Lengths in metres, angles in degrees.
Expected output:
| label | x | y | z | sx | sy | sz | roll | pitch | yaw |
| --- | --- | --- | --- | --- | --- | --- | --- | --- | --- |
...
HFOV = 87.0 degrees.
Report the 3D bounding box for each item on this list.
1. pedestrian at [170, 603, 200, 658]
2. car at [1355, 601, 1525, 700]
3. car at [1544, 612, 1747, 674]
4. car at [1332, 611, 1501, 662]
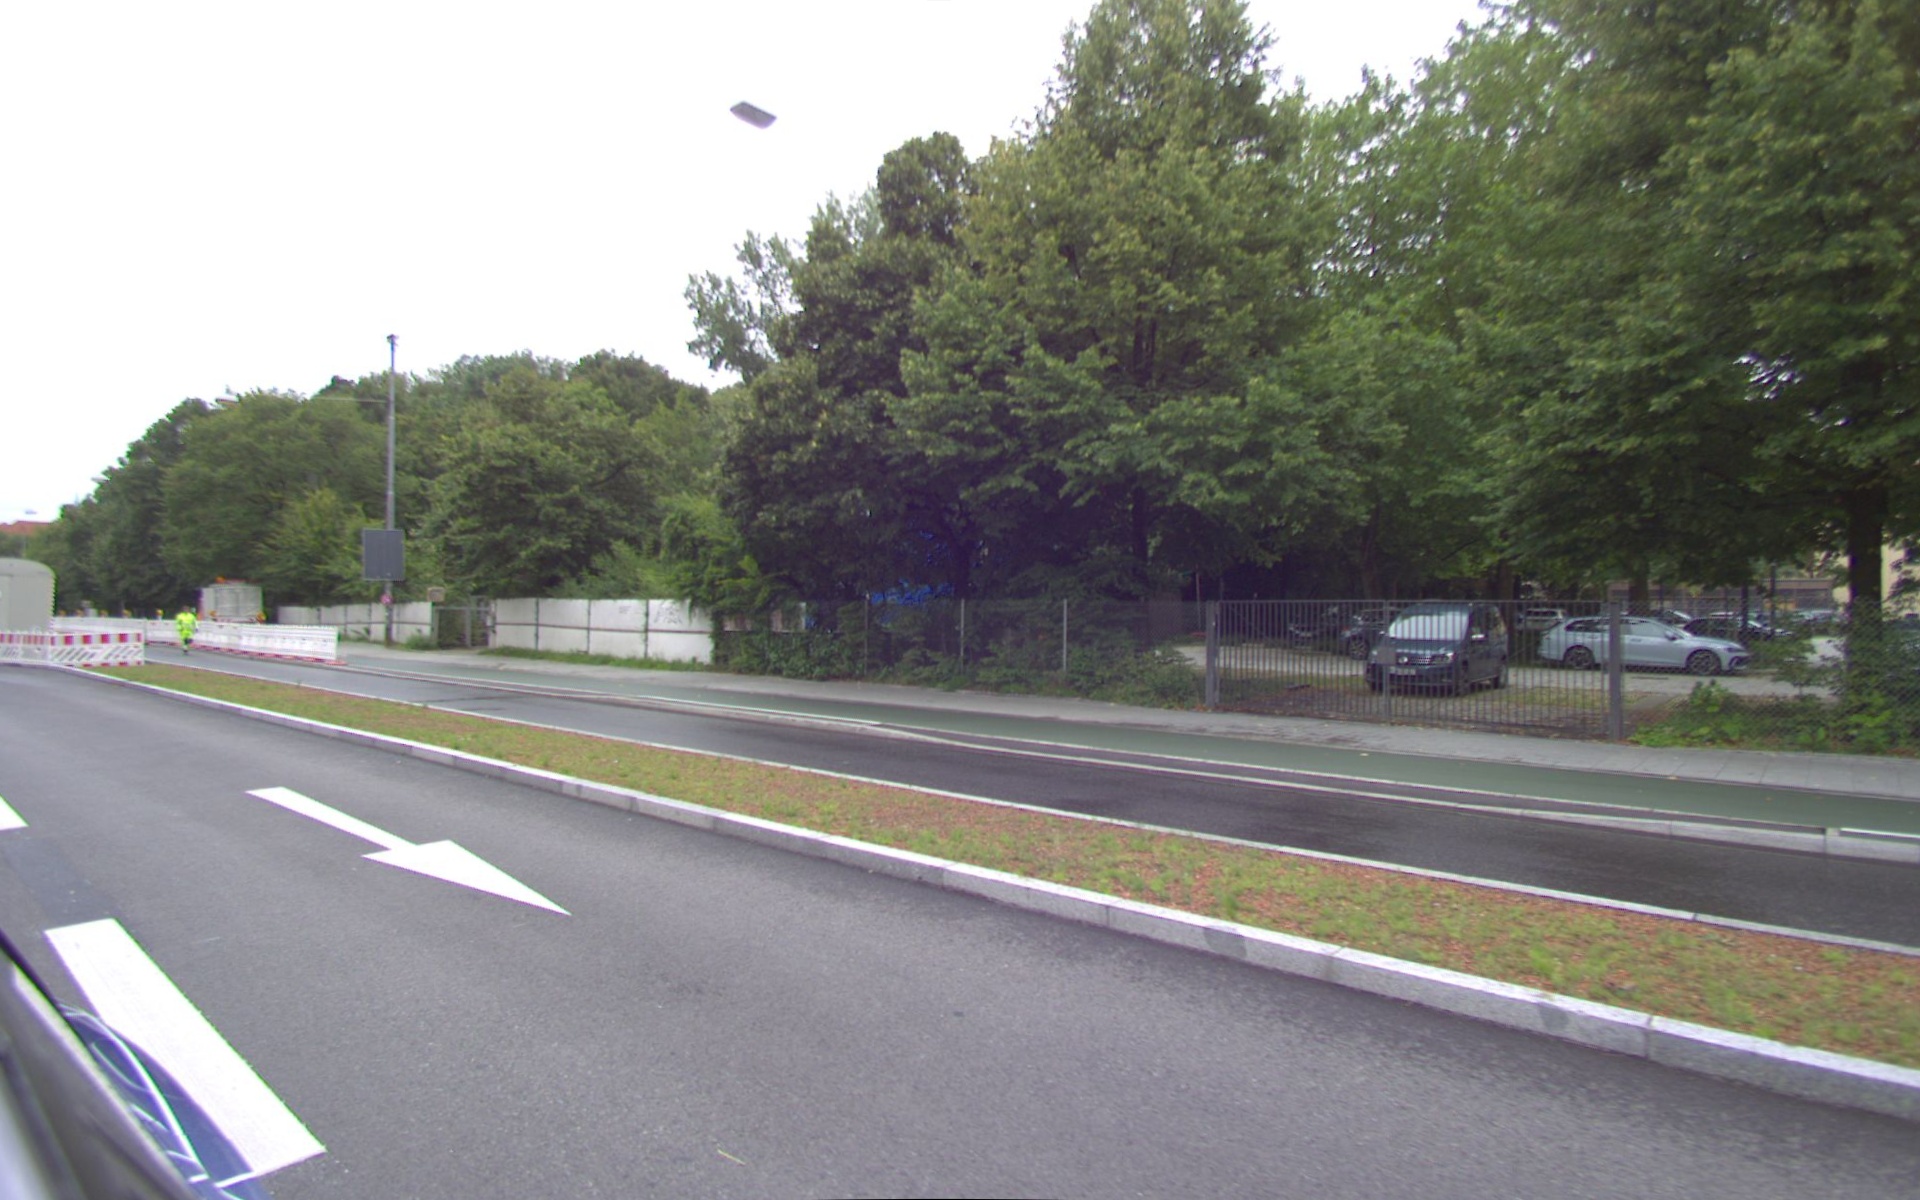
| label | x | y | z | sx | sy | sz | roll | pitch | yaw |
| --- | --- | --- | --- | --- | --- | --- | --- | --- | --- |
| pedestrian | -29.234 | 1.141 | 38.187 | 0.867 | 2.029 | 0.747 | -1 | 0 | 41 |
| car | 9.786 | 0.928 | 20.493 | 1.877 | 1.722 | 3.981 | 2 | 2 | 45 |
| car | 17.863 | 1.065 | 26.463 | 4.257 | 1.459 | 1.974 | -1 | 0 | 39 |
| car | 13.619 | 1.049 | 30.306 | 4.257 | 1.414 | 1.974 | -1 | 0 | 39 |
